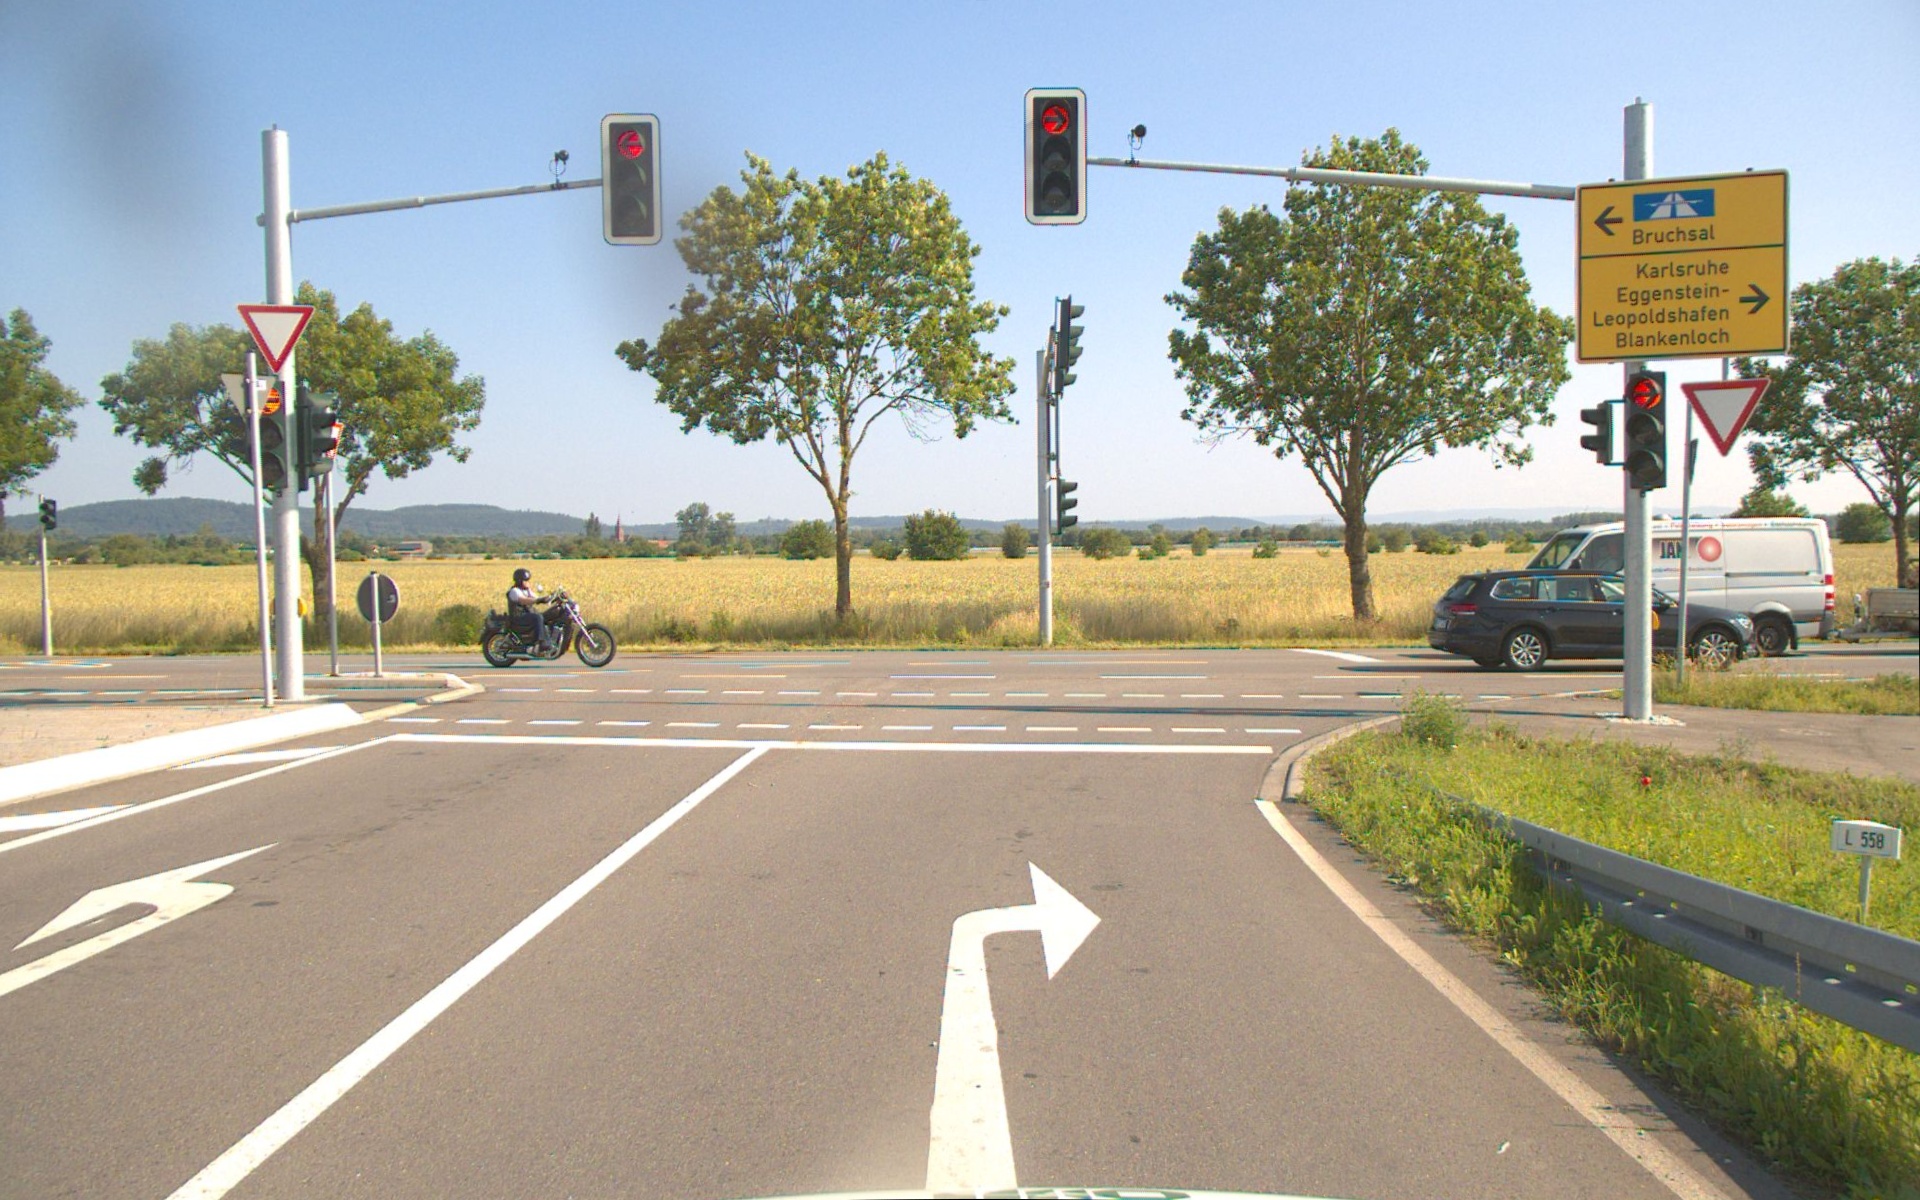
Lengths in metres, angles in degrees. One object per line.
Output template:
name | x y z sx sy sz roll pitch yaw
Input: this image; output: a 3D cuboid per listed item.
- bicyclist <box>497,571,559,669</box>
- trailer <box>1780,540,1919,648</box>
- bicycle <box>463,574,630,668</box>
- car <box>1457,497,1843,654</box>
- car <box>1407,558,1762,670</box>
bicyclist | -6.821 0.305 26.152 0.792 1.515 0.757 1 0 -2
trailer | 17.318 -0.138 28.782 5.153 1.783 1.954 -1 1 0
bicycle | -6.525 0.326 26.200 2.442 1.421 0.732 1 0 -4
car | 11.813 -0.417 28.589 5.835 2.536 2.000 1 0 0
car | 9.230 0.184 24.666 4.580 1.545 1.920 -1 1 -4
